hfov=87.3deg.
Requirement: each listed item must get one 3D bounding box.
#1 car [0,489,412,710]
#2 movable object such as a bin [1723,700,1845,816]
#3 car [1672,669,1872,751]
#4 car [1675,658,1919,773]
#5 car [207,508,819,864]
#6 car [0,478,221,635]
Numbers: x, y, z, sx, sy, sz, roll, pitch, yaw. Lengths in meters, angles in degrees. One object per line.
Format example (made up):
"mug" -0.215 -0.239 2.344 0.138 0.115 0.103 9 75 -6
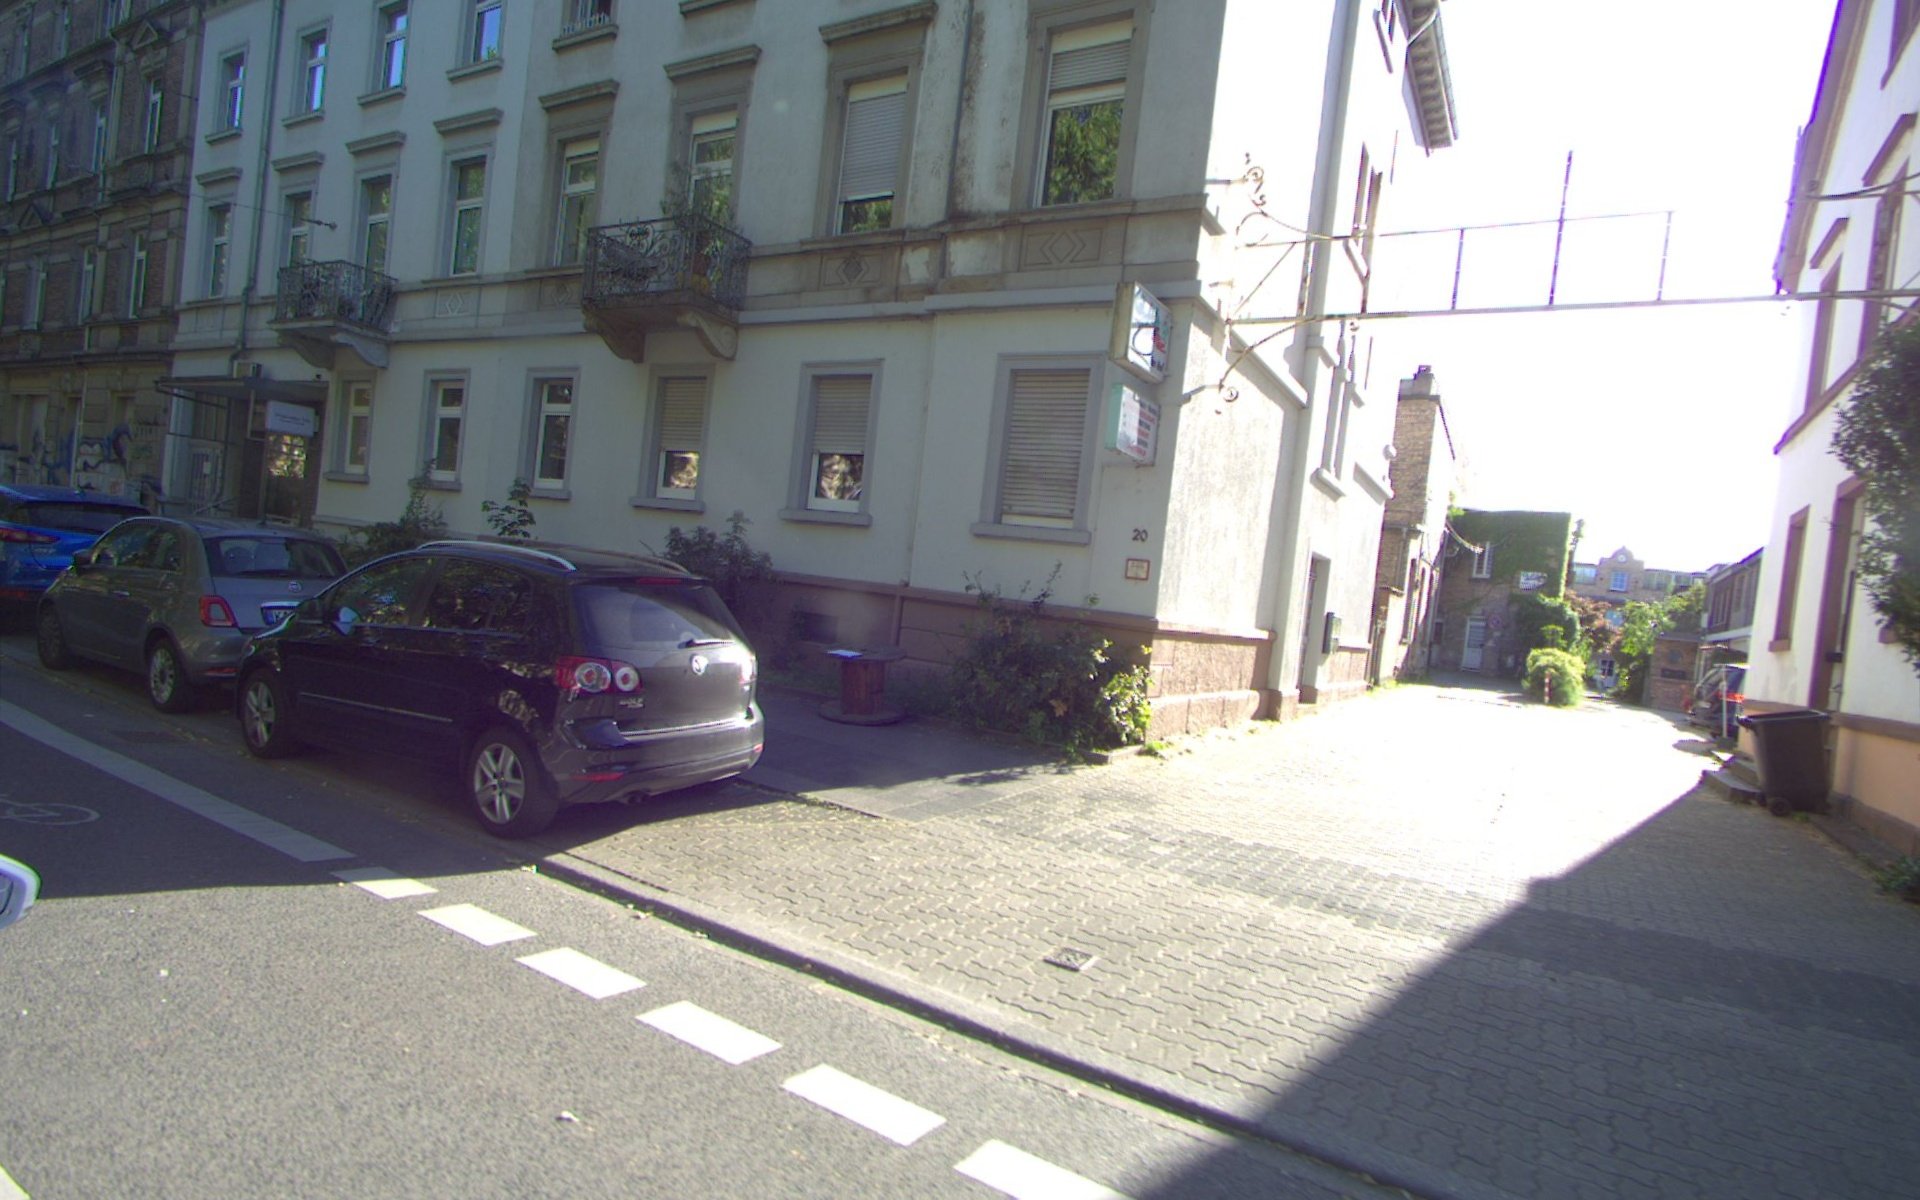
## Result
"car" -6.948 -0.110 9.147 3.705 1.477 1.798 7 4 31
"movable object such as a bin" 8.738 1.660 10.707 0.781 1.040 0.629 9 2 30
"car" 18.993 2.542 23.730 3.393 1.320 1.574 7 2 33
"car" 15.889 2.117 19.061 3.515 1.567 1.620 7 2 30
"car" -3.113 0.348 6.855 3.866 1.608 1.879 7 4 30
"car" -10.419 -0.590 11.516 3.960 1.477 1.878 7 4 33
